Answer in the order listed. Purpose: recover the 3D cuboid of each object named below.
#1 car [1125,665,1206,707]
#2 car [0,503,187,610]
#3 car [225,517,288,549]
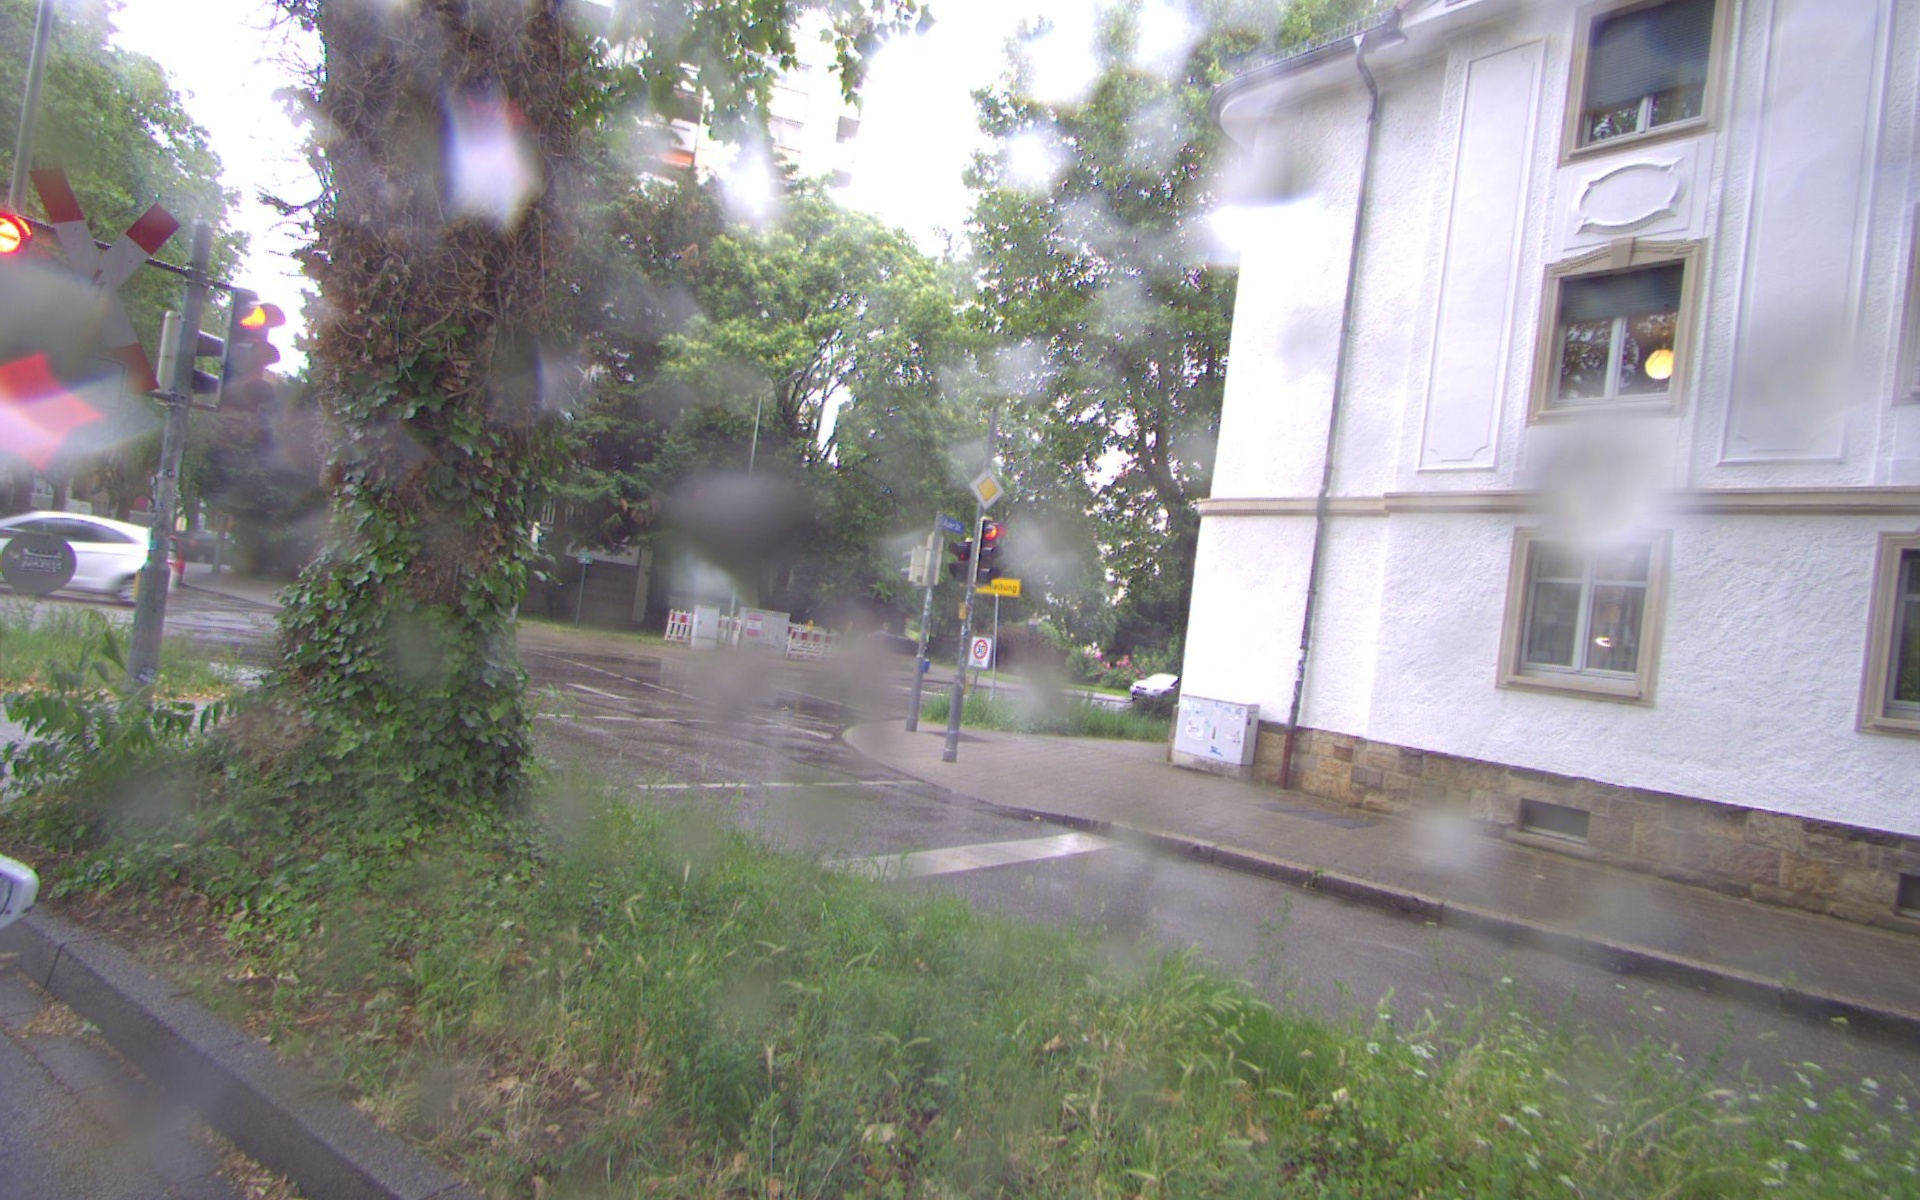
[{"bbox_3d":[9.359,3.920,45.637,3.630,1.504,1.704,8,0,-43],"label":"car"},{"bbox_3d":[-15.887,-0.818,17.503,3.630,1.504,1.704,8,0,-43],"label":"car"},{"bbox_3d":[-57.176,-5.453,81.811,3.969,2.038,1.689,7,0,-39],"label":"car"}]
